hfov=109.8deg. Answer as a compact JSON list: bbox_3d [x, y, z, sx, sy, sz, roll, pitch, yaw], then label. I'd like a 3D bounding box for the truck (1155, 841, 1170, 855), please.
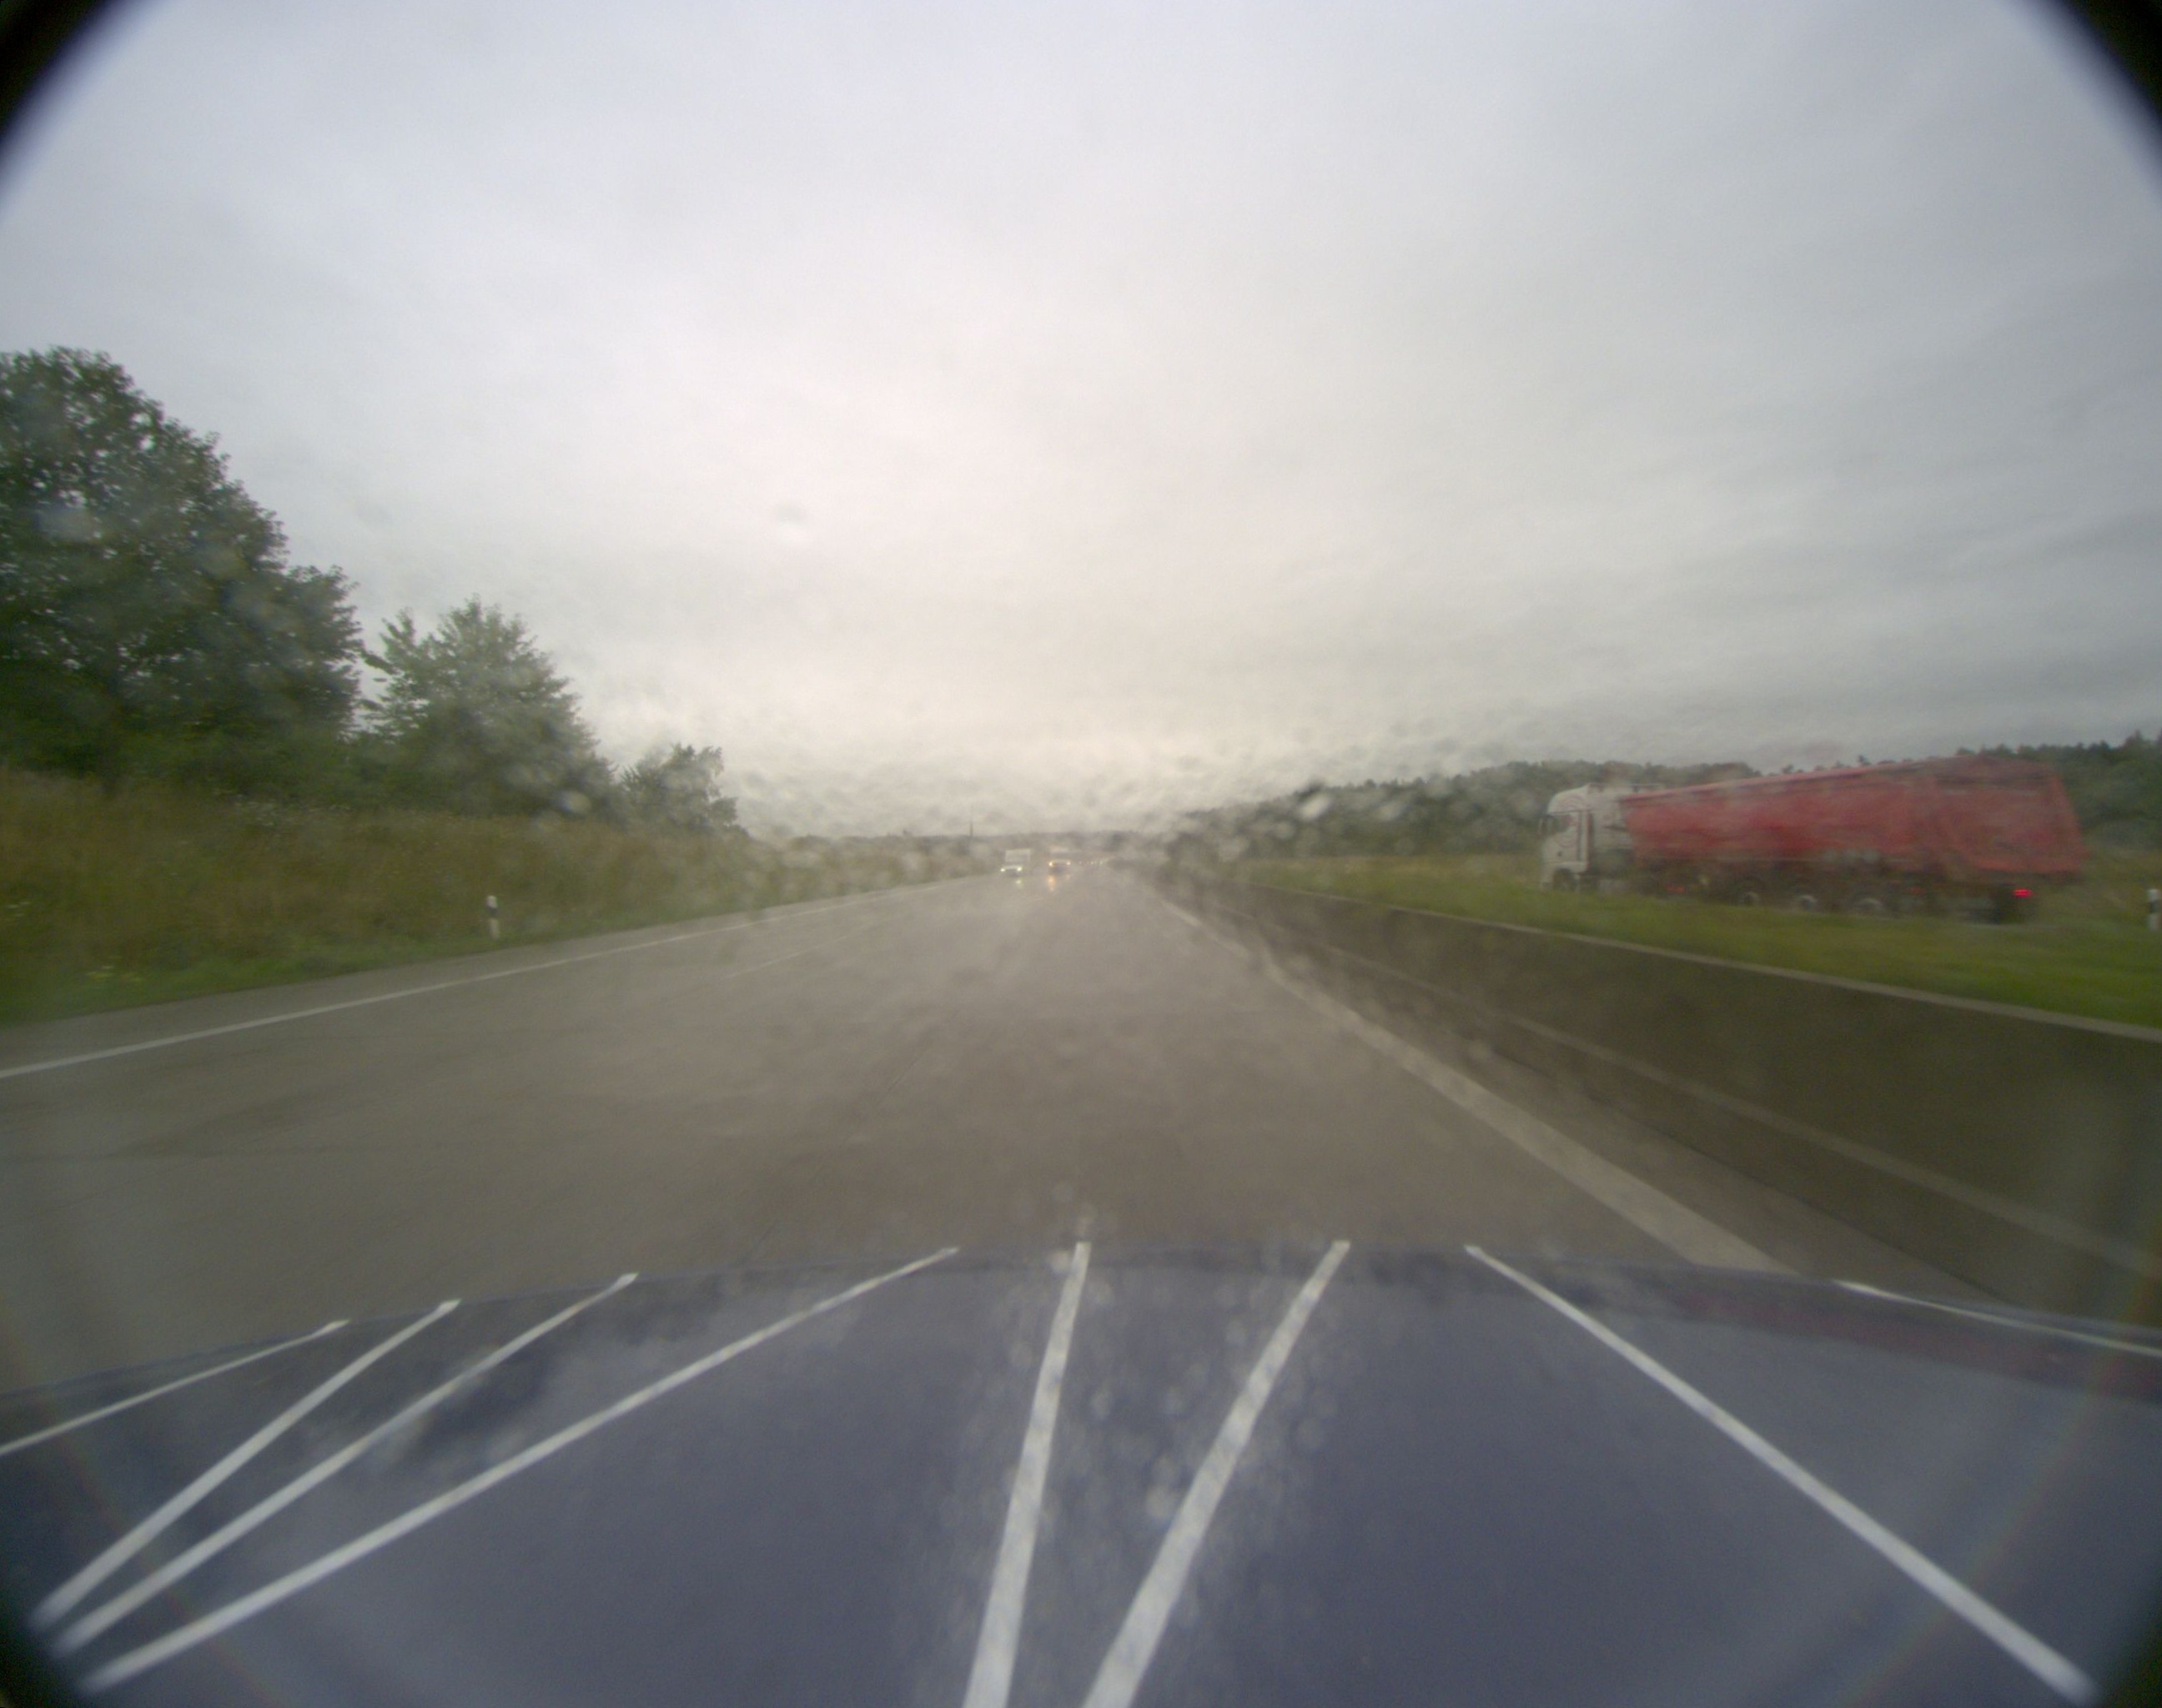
[{"bbox_3d":[20.747,-1.481,193.029,3.261,3.314,6.036,-1,0,1],"label":"truck"}]

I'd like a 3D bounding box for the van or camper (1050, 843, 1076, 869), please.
[{"bbox_3d":[-1.727,0.172,76.421,2.233,2.537,7.949,-1,0,1],"label":"van or camper"}]

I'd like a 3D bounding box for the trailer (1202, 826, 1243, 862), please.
[{"bbox_3d":[18.476,-1.269,100.020,3.236,4.315,13.553,-1,0,2],"label":"trailer"}]

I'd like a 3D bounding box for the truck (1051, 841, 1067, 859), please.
[{"bbox_3d":[-4.027,-0.719,139.433,2.496,3.197,7.071,-1,0,2],"label":"truck"}]

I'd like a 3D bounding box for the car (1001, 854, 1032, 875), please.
[{"bbox_3d":[-5.584,0.852,66.290,1.998,1.576,5.952,-2,1,1],"label":"car"}]

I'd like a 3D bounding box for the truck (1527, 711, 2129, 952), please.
[{"bbox_3d":[16.808,-0.579,19.775,2.761,4.183,13.099,0,2,1],"label":"truck"}]

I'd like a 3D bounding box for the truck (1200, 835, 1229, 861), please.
[{"bbox_3d":[18.696,-0.860,106.729,3.205,3.453,6.036,-1,0,1],"label":"truck"}]

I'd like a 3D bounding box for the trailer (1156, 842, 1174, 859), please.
[{"bbox_3d":[20.525,-0.827,186.708,3.236,4.126,12.621,-1,0,2],"label":"trailer"}]

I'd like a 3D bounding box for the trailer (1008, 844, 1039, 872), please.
[{"bbox_3d":[-5.403,0.339,72.287,2.349,2.445,5.938,0,2,1],"label":"trailer"}]
